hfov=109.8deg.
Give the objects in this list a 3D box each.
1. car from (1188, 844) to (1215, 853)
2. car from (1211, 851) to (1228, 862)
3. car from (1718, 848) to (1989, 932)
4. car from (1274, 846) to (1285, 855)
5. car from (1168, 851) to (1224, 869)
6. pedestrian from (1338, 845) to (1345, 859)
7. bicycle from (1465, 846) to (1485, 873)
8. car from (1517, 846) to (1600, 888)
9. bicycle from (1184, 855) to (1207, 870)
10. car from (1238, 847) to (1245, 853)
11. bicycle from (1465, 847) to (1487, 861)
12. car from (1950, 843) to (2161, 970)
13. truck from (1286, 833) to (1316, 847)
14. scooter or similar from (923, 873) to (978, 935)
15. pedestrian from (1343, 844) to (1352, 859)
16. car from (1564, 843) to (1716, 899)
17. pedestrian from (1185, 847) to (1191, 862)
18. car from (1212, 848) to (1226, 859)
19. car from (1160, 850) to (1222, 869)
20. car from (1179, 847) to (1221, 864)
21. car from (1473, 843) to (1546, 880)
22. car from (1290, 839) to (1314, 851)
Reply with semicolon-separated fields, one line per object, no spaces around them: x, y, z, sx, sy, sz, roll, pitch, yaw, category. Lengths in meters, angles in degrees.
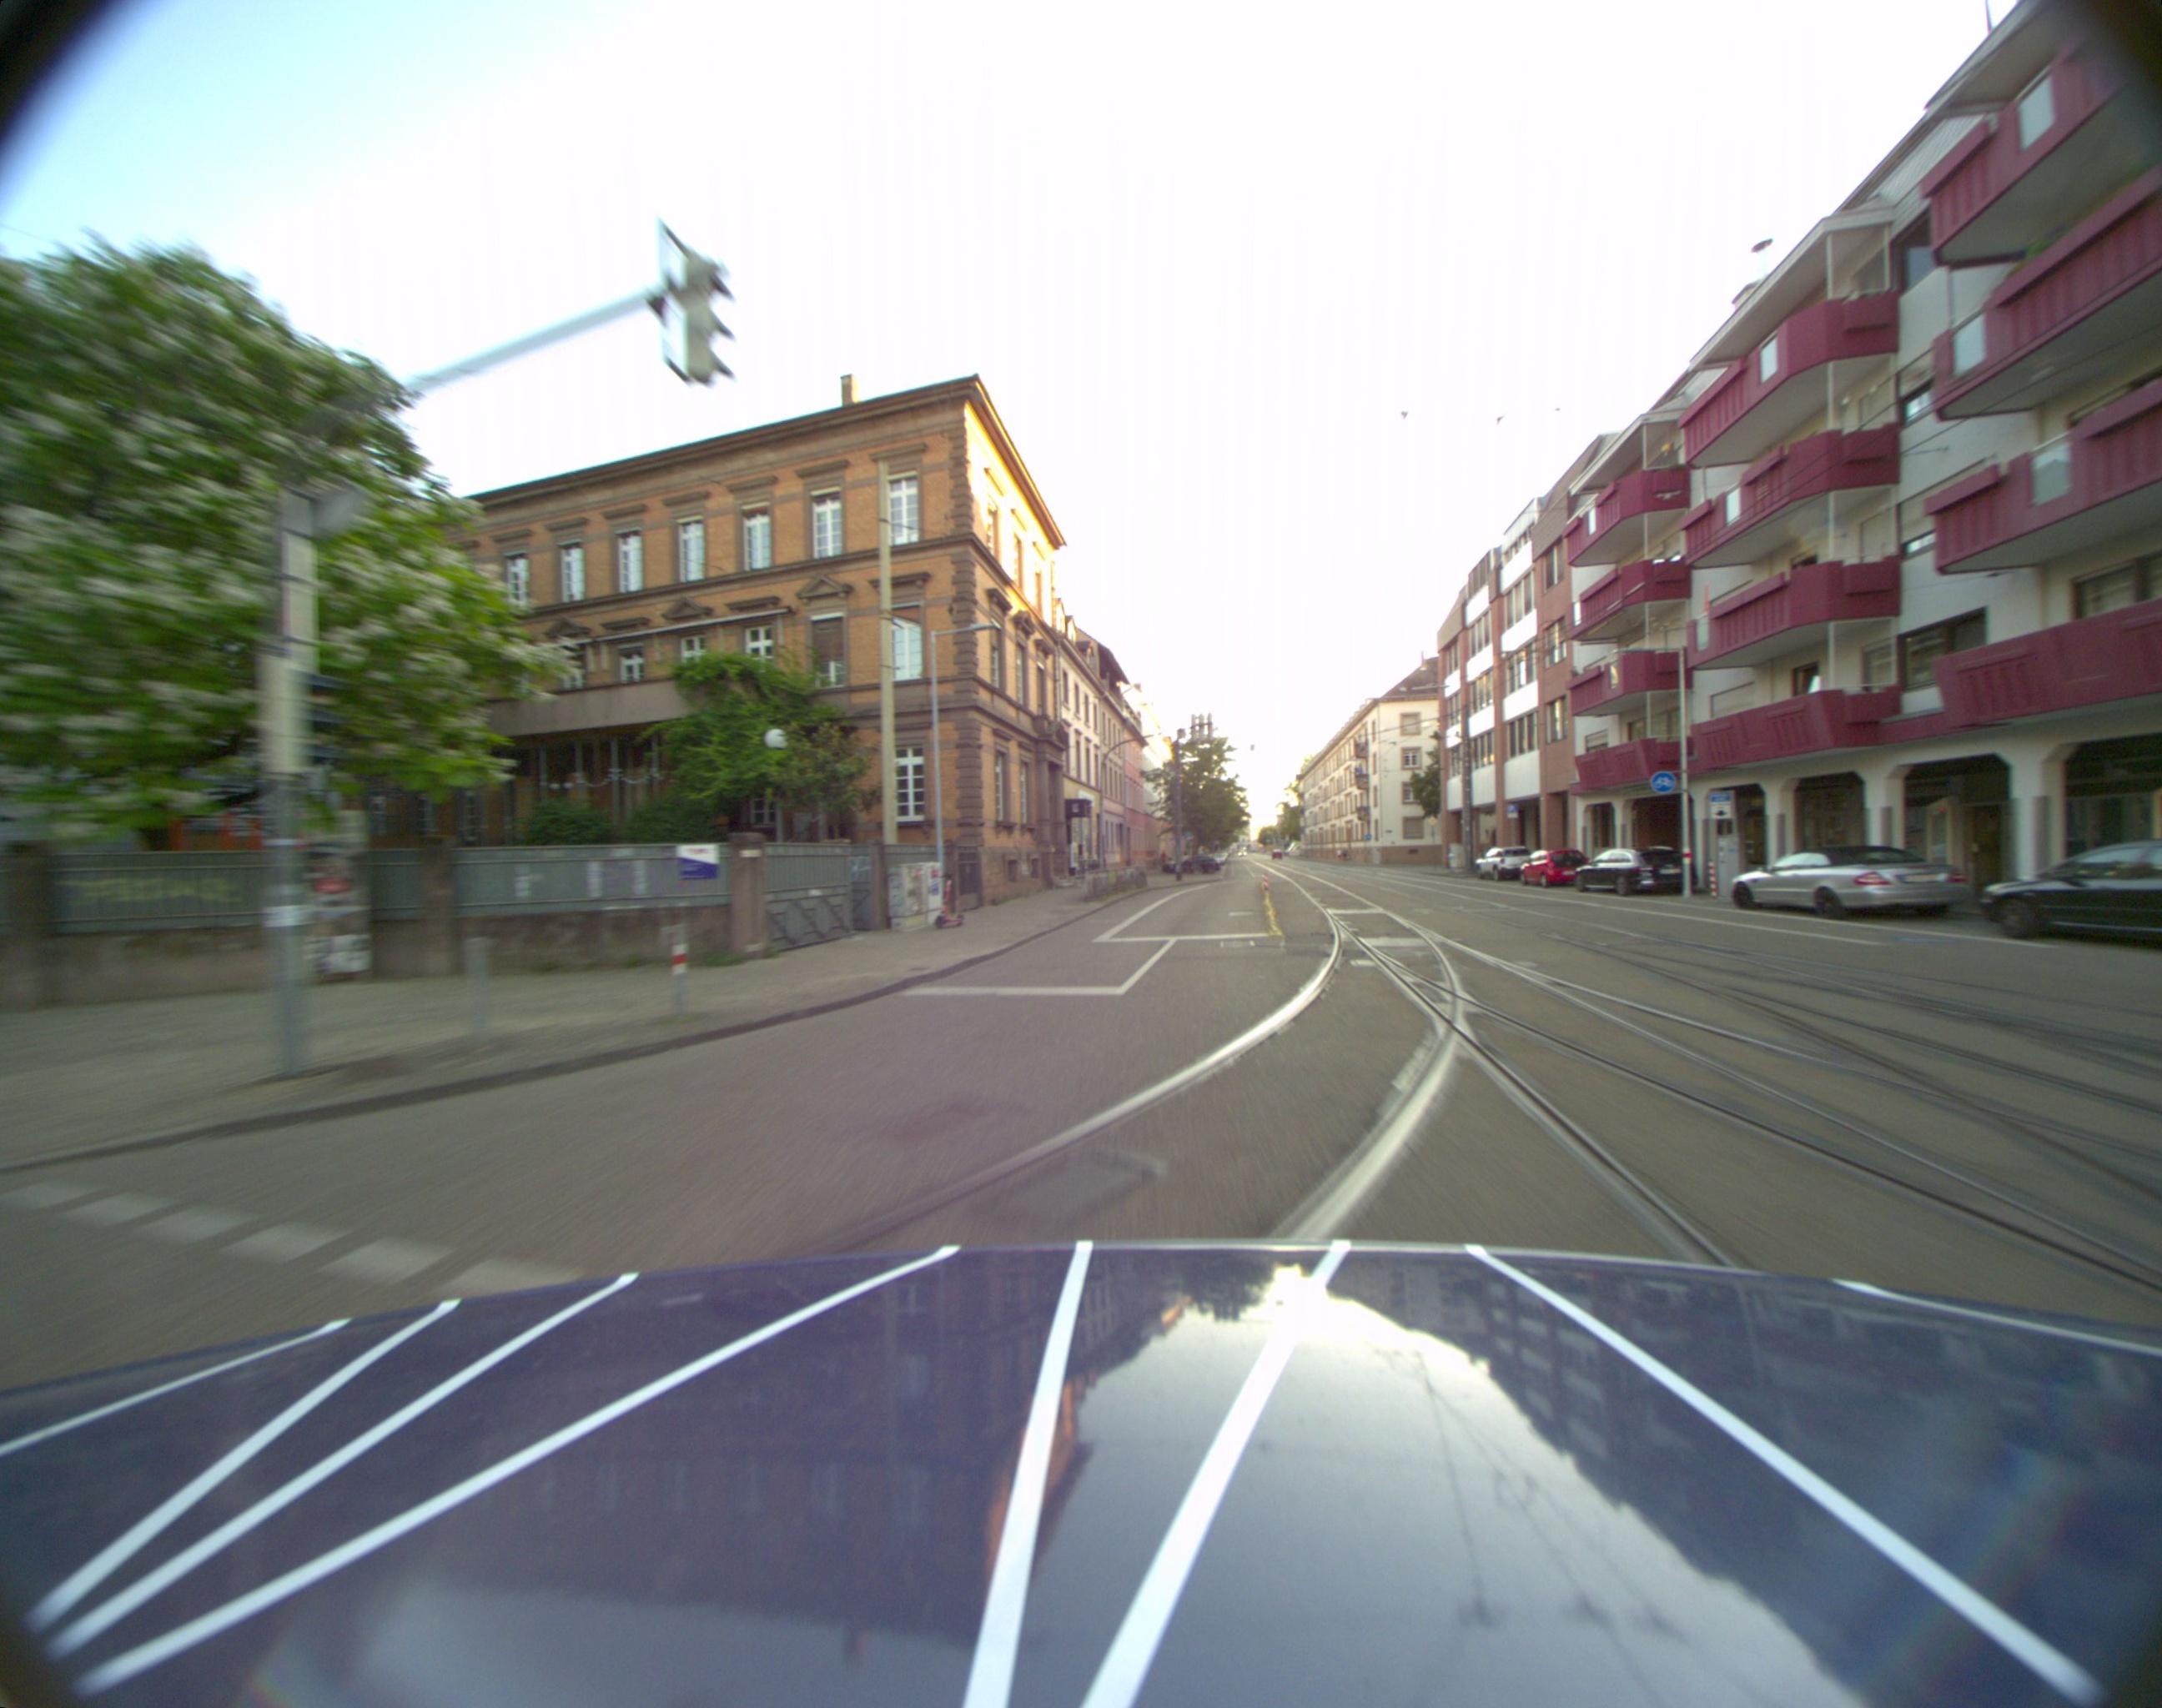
21.448;-0.991;135.016;4.390;1.455;1.719;-1;0;-6;car
17.772;0.306;97.400;1.783;1.373;4.695;0;1;13;car
15.608;0.630;15.788;1.694;1.405;4.681;-4;0;14;car
34.305;-0.549;131.257;1.562;1.549;3.757;0;0;9;car
10.148;0.493;67.392;4.460;1.507;2.061;-1;0;-12;car
30.488;-0.217;88.921;0.591;1.600;0.812;-2;1;9;pedestrian
20.913;0.272;40.371;0.609;1.369;2.261;-1;0;19;bicycle
18.632;0.459;29.826;1.614;1.470;3.482;-4;0;13;car
8.869;0.654;58.716;1.693;1.095;0.928;0;1;11;bicycle
46.290;-1.083;219.082;1.997;1.674;4.004;-2;-1;11;car
35.312;-0.013;67.916;1.684;1.206;0.604;-1;1;-6;bicycle
14.625;0.652;10.130;1.791;1.499;4.203;-3;0;12;car
56.904;-3.611;196.518;7.071;3.408;2.568;-2;0;8;truck
-2.889;1.076;16.943;0.642;1.258;1.584;0;1;12;scooter or similar
31.151;-0.305;88.745;0.797;1.691;0.982;-2;1;9;pedestrian
17.423;0.472;24.004;1.997;1.470;4.485;-4;0;9;car
13.264;0.048;94.416;0.681;1.805;0.600;-2;1;12;pedestrian
16.698;-0.088;91.830;1.621;1.373;3.779;0;1;11;car
8.771;0.452;60.868;4.621;1.449;1.708;0;0;-13;car
11.336;0.127;72.359;3.568;1.507;1.741;-1;0;-14;car
19.891;0.314;35.469;1.720;1.546;4.207;-3;0;12;car
55.585;-2.290;191.147;5.229;2.581;2.231;-2;0;8;car
